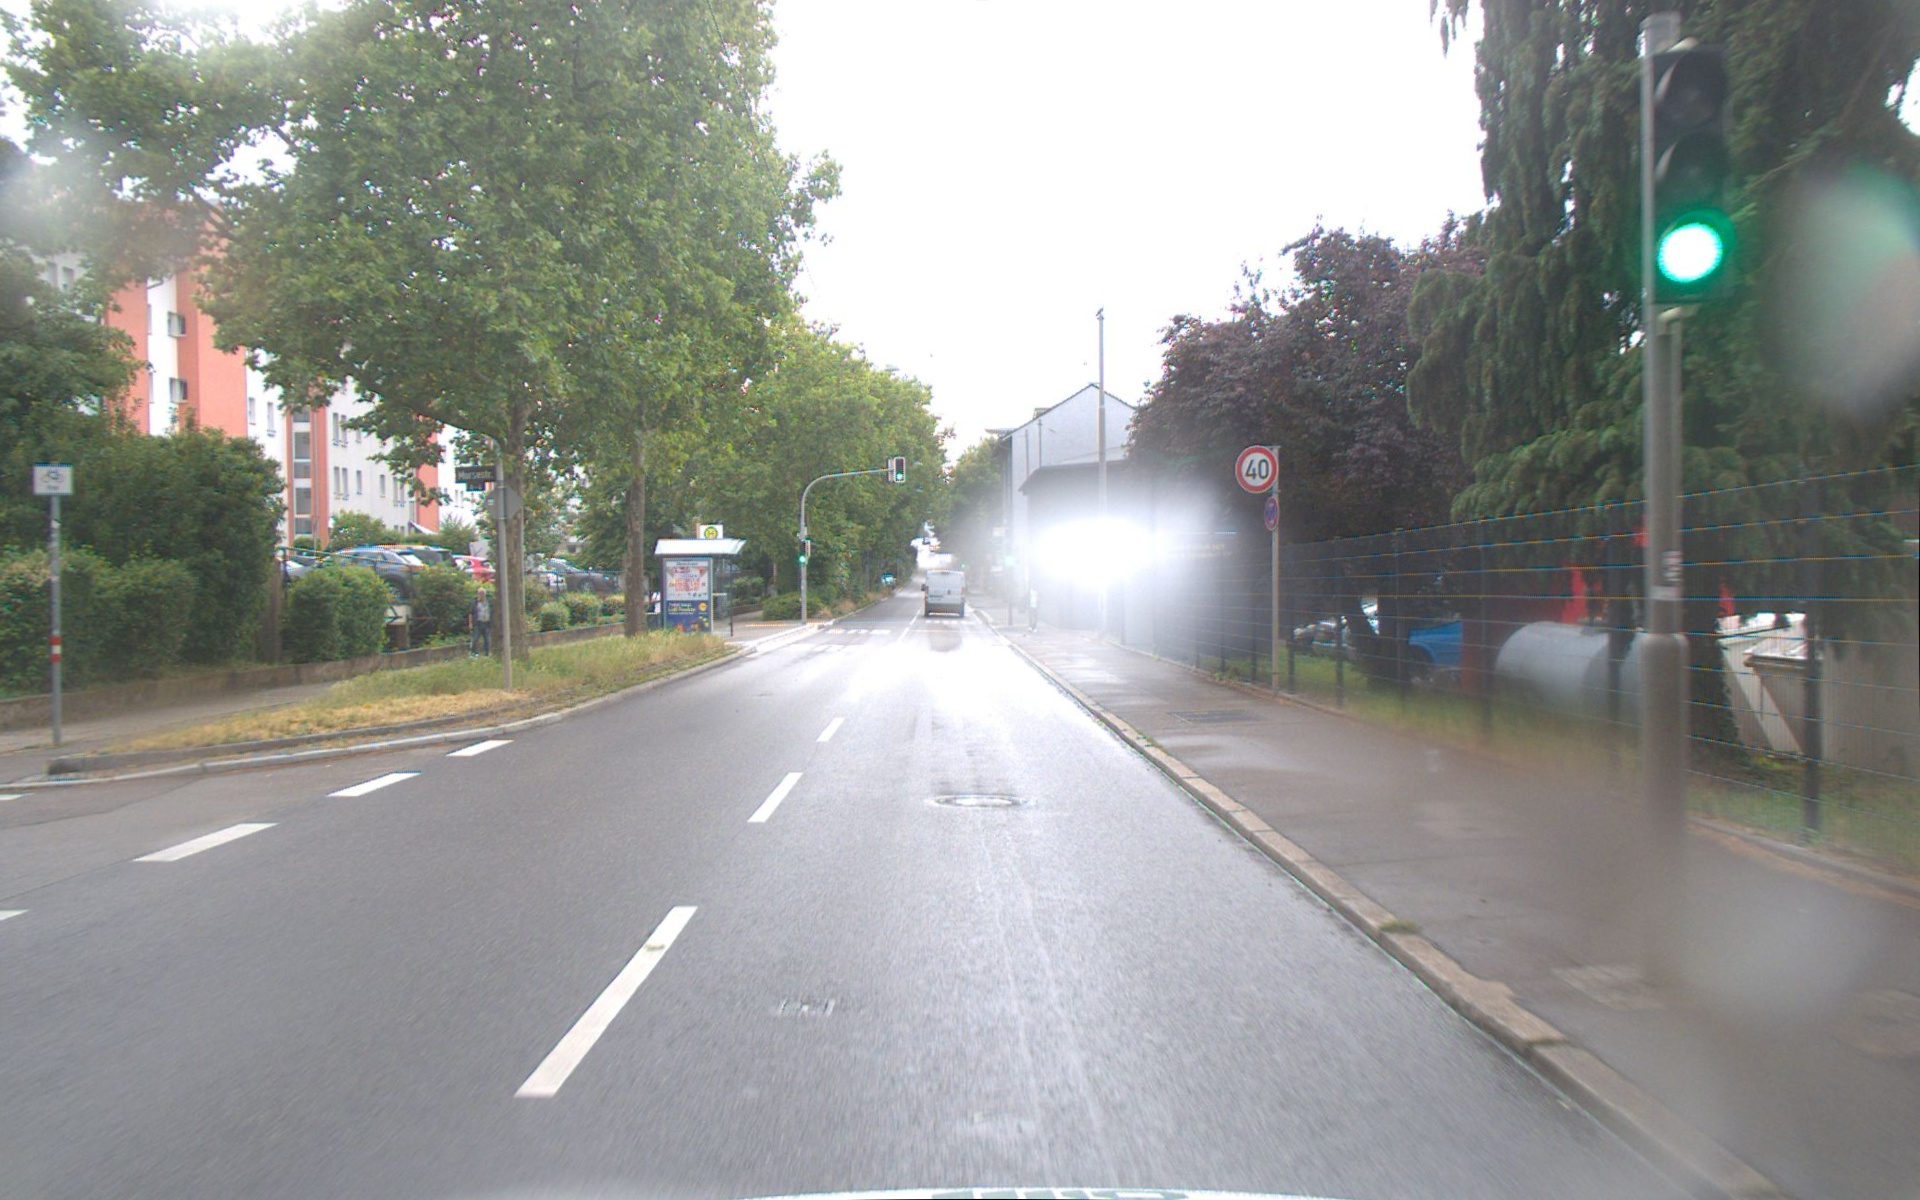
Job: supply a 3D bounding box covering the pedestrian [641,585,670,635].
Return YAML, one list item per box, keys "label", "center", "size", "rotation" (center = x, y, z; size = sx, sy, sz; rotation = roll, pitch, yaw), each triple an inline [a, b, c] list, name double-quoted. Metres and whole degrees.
- label: "pedestrian"
  center: [-10.226, 0.340, 55.559]
  size: [0.726, 1.626, 0.606]
  rotation: [-4, -1, 2]

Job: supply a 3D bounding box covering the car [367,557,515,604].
- label: "car"
  center: [-16.059, -0.597, 51.306]
  size: [4.005, 1.325, 1.809]
  rotation: [1, -1, -1]

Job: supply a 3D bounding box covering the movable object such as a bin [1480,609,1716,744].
- label: "movable object such as a bin"
  center: [7.137, 0.812, 18.741]
  size: [1.343, 1.343, 2.856]
  rotation: [1, 0, -6]

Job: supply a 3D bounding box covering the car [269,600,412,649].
- label: "car"
  center: [-19.559, 0.778, 52.293]
  size: [3.888, 1.429, 1.589]
  rotation: [1, -1, -1]

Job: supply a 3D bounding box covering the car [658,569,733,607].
- label: "car"
  center: [-15.203, -0.692, 95.234]
  size: [4.085, 2.049, 1.718]
  rotation: [1, 0, -3]

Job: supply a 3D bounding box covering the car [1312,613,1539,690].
- label: "car"
  center: [9.781, 1.076, 34.953]
  size: [4.291, 1.558, 1.793]
  rotation: [0, -1, -3]

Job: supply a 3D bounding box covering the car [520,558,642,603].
- label: "car"
  center: [-15.354, -0.767, 67.199]
  size: [4.453, 1.701, 1.999]
  rotation: [1, 0, -2]

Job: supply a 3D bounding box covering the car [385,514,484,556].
- label: "car"
  center: [-22.804, -2.808, 71.814]
  size: [3.733, 1.630, 1.717]
  rotation: [1, -1, -3]

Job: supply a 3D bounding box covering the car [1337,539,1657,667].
- label: "car"
  center: [10.168, 0.063, 31.581]
  size: [5.455, 2.249, 1.999]
  rotation: [1, 0, -3]

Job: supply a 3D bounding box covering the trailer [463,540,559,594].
- label: "trailer"
  center: [-14.517, -1.071, 53.533]
  size: [2.649, 1.674, 1.480]
  rotation: [1, 0, 0]

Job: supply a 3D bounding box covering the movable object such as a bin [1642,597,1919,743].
- label: "movable object such as a bin"
  center: [10.253, 0.812, 19.922]
  size: [3.264, 1.605, 1.890]
  rotation: [1, 0, -4]

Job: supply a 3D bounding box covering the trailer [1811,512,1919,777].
- label: "trailer"
  center: [10.710, 0.437, 14.675]
  size: [5.311, 2.225, 2.045]
  rotation: [1, -1, -2]

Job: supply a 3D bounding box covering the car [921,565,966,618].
- label: "car"
  center: [-0.820, -0.387, 83.365]
  size: [2.236, 2.597, 3.999]
  rotation: [0, -1, -1]

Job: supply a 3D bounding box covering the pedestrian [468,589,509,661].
- label: "pedestrian"
  center: [-10.975, 0.581, 38.508]
  size: [0.740, 1.639, 0.834]
  rotation: [1, -1, -5]

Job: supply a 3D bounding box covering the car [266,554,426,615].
- label: "car"
  center: [-16.334, -0.391, 44.143]
  size: [3.581, 1.524, 1.896]
  rotation: [1, -1, -5]

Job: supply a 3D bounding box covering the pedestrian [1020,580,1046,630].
- label: "pedestrian"
  center: [2.543, 0.184, 57.700]
  size: [0.728, 1.734, 0.900]
  rotation: [1, -1, -6]

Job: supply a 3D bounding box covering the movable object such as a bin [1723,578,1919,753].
- label: "movable object such as a bin"
  center: [9.987, 0.663, 17.766]
  size: [2.565, 1.746, 2.082]
  rotation: [1, 0, -4]
